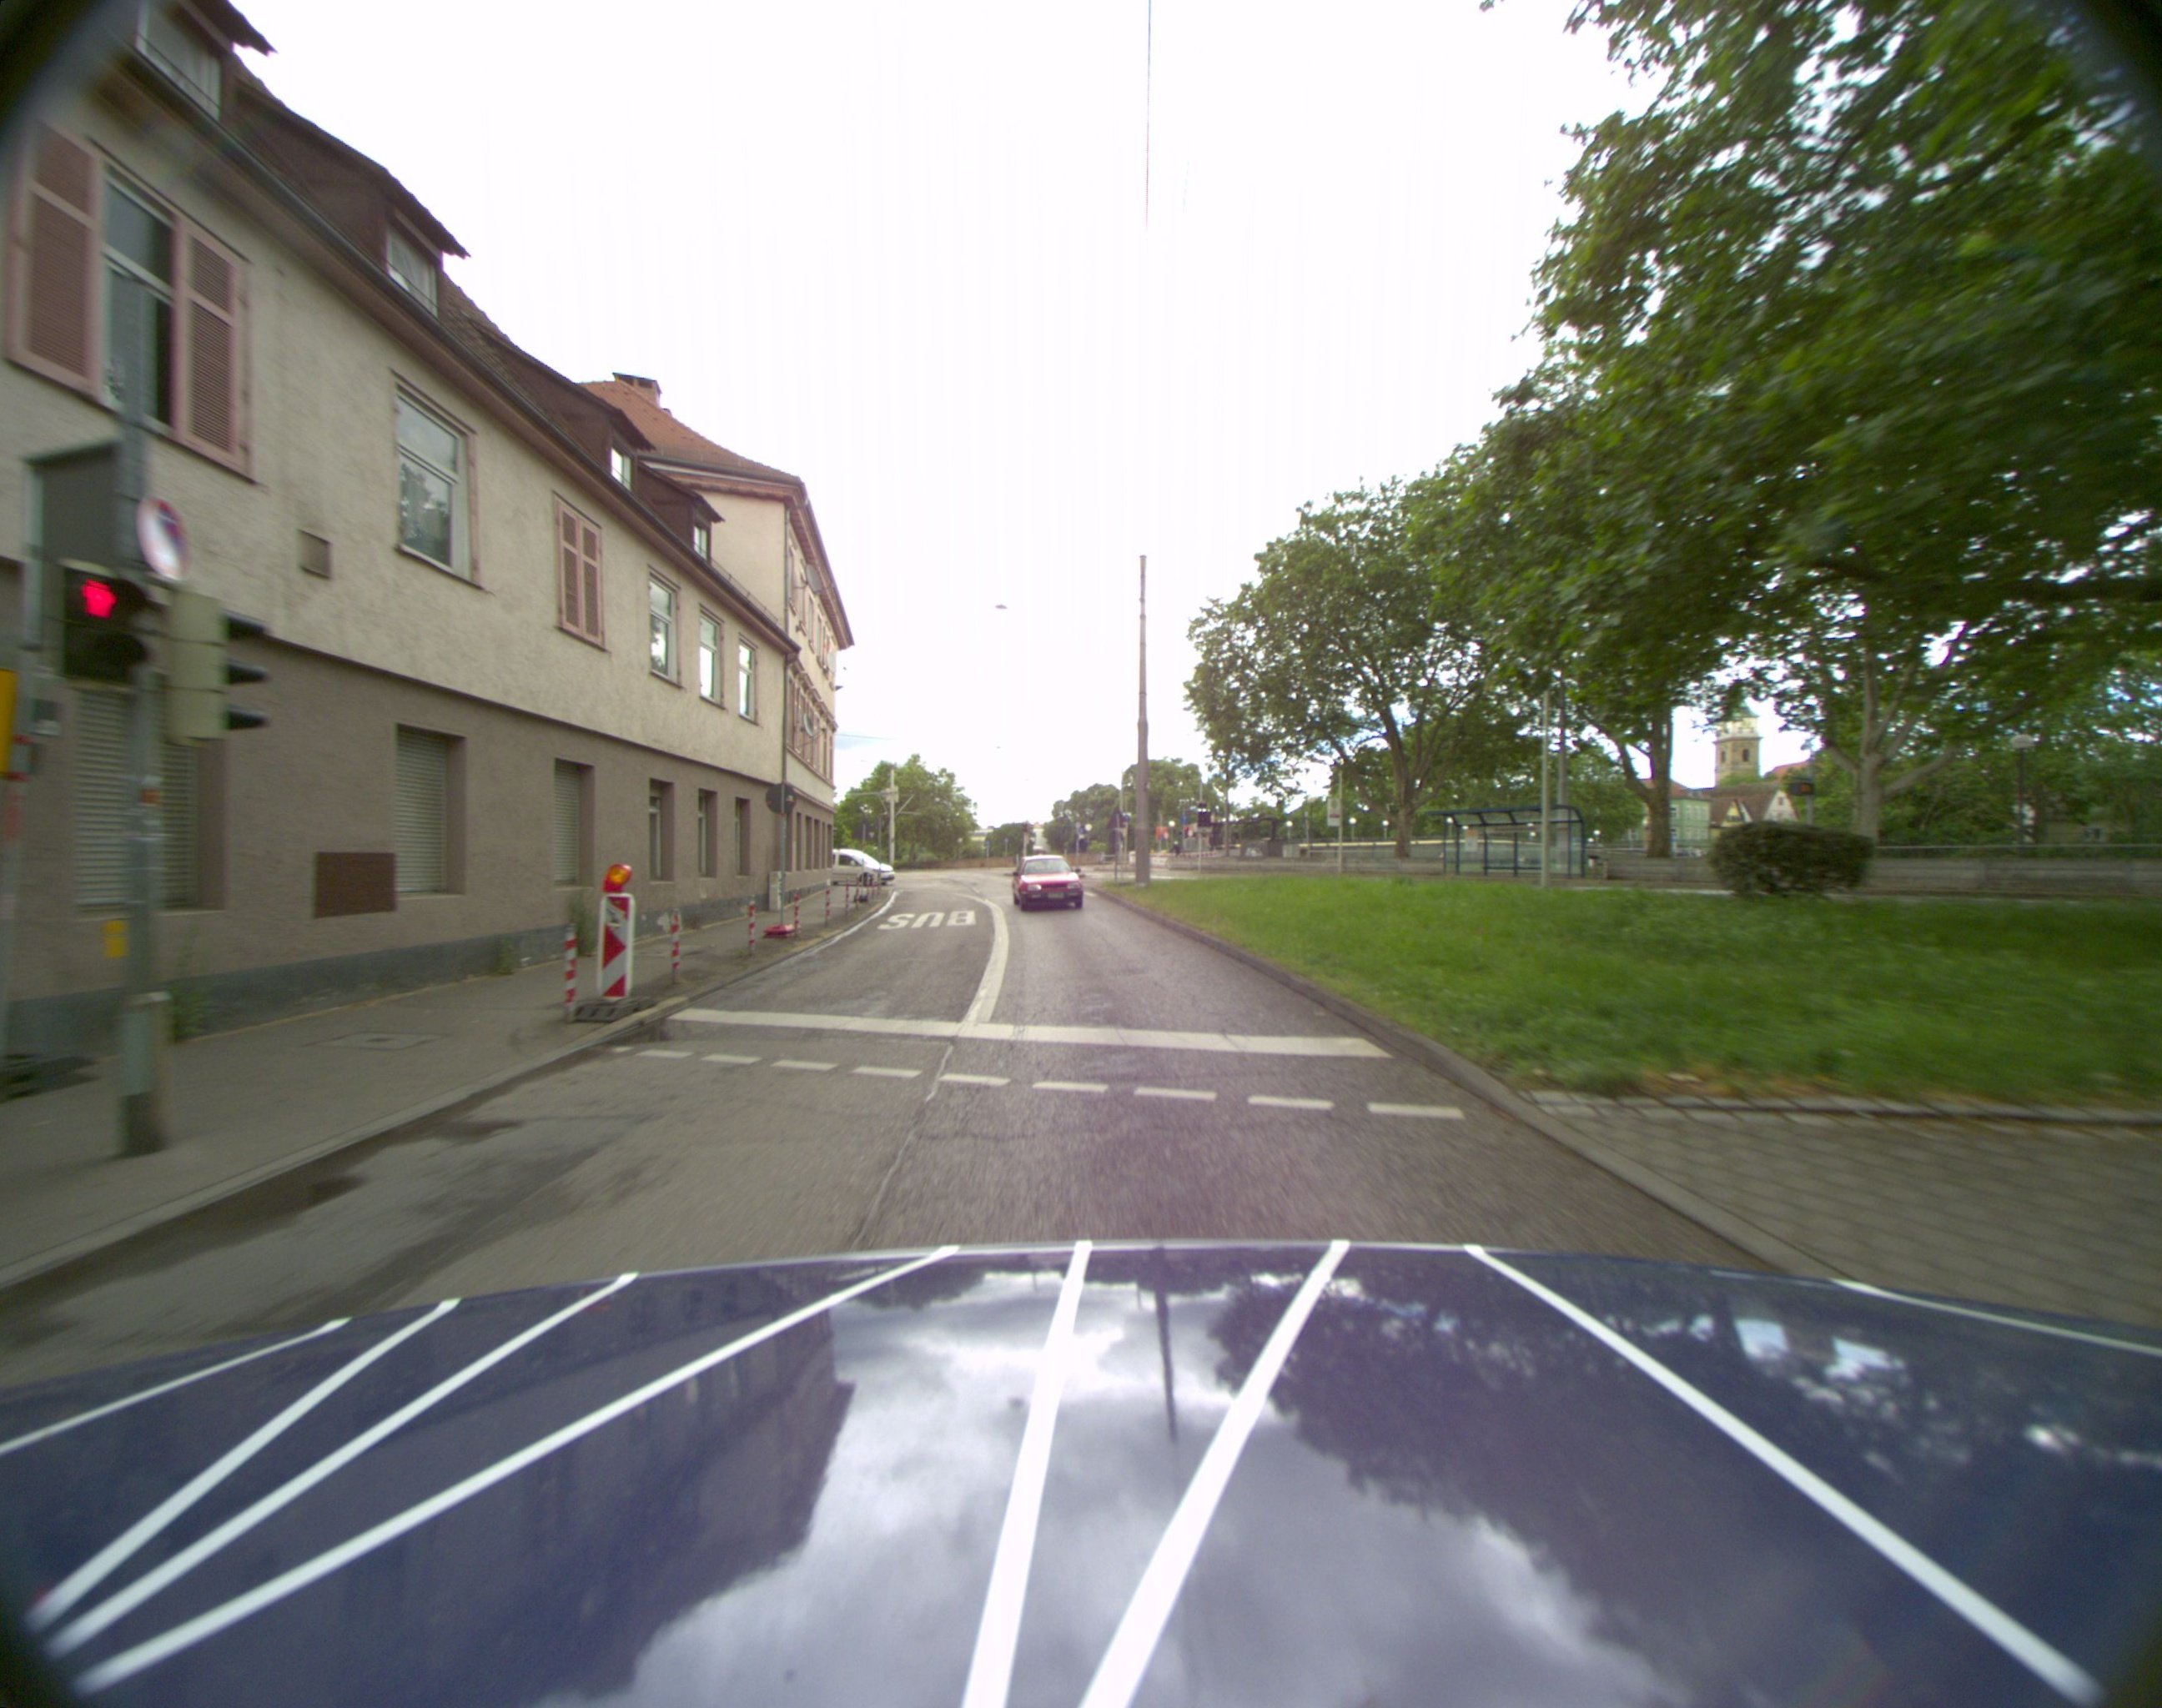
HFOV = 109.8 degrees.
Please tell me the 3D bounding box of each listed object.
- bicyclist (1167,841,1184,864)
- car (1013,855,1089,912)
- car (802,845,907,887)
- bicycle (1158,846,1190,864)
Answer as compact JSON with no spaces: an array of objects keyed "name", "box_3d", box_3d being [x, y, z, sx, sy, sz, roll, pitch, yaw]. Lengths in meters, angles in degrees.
[{"name":"bicyclist","box_3d":[7.039,-0.104,56.468,1.005,1.642,0.643,-1,4,35]},{"name":"car","box_3d":[-0.944,0.810,21.446,1.851,1.414,4.172,-1,-1,-6]},{"name":"car","box_3d":[-11.233,0.596,37.806,4.451,1.776,2.075,-2,3,10]},{"name":"bicycle","box_3d":[6.902,0.082,56.602,2.258,1.271,0.692,-1,4,39]}]
